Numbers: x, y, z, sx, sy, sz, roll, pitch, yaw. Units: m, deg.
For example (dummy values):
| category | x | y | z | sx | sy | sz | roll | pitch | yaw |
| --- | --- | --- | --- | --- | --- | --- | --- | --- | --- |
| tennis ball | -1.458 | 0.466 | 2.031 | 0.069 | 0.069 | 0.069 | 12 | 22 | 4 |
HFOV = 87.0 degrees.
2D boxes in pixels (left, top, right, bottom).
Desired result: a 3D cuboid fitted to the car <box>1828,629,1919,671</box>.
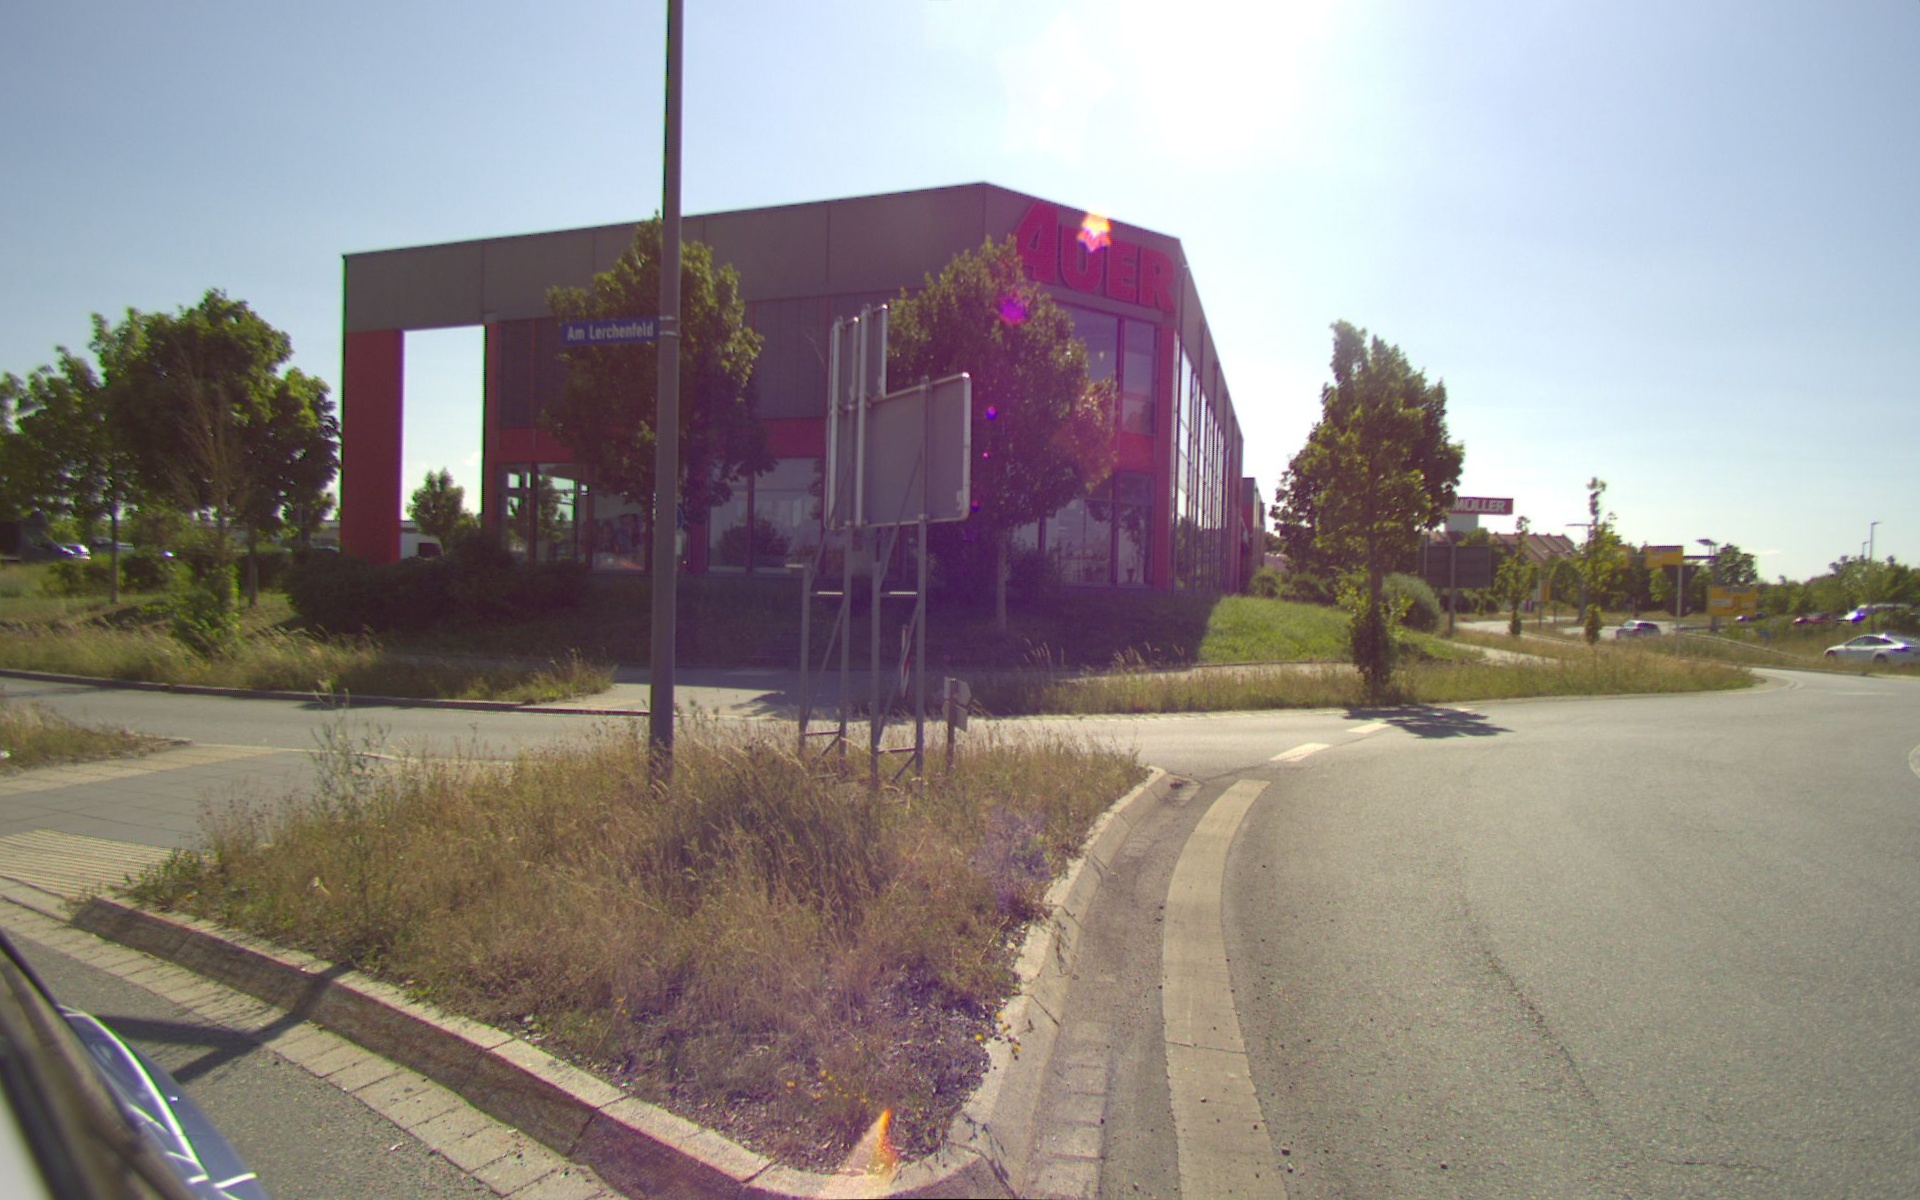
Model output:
| category | x | y | z | sx | sy | sz | roll | pitch | yaw |
| --- | --- | --- | --- | --- | --- | --- | --- | --- | --- |
| car | 39.984 | 2.105 | 43.520 | 1.704 | 1.586 | 4.273 | 1 | 0 | 3 |

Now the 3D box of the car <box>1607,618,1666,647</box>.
| category | x | y | z | sx | sy | sz | roll | pitch | yaw |
| --- | --- | --- | --- | --- | --- | --- | --- | --- | --- |
| car | 45.747 | 2.184 | 68.498 | 1.671 | 1.786 | 3.762 | 1 | 0 | 6 |
